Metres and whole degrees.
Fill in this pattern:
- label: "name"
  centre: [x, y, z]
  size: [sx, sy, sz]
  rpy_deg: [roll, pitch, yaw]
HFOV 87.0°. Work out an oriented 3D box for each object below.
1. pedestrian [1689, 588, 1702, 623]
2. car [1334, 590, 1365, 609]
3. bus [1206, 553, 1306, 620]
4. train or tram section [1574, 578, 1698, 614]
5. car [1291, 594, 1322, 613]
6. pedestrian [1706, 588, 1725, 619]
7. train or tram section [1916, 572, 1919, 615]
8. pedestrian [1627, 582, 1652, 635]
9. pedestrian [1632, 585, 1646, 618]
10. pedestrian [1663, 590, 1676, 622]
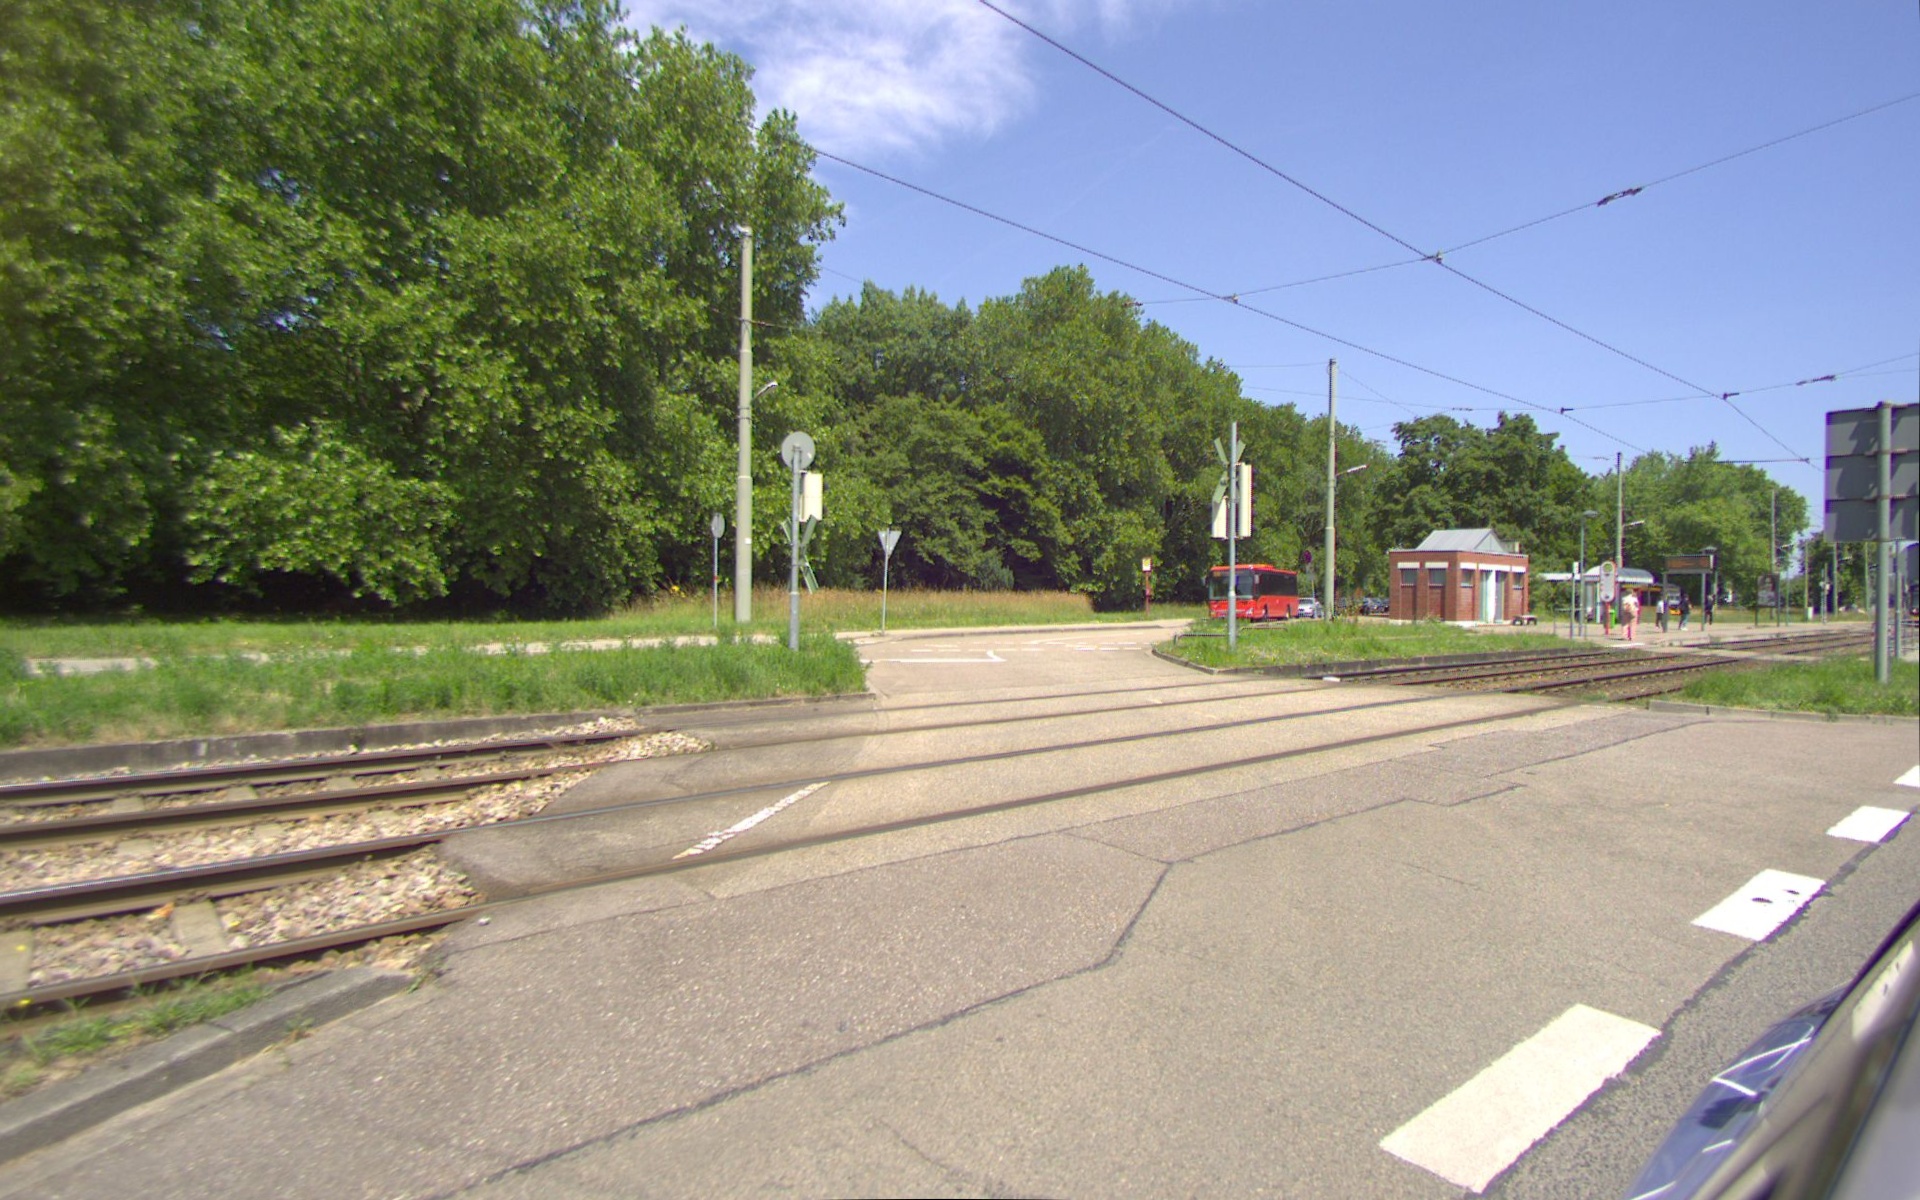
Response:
- label: "pedestrian"
  centre: [36.206, 0.272, 49.818]
  size: [0.437, 1.667, 0.361]
  rpy_deg: [1, 0, -38]
- label: "car"
  centre: [33.289, -0.071, 86.409]
  size: [1.872, 1.530, 3.958]
  rpy_deg: [1, 1, 30]
- label: "bus"
  centre: [17.316, -0.759, 58.448]
  size: [2.744, 3.482, 12.315]
  rpy_deg: [-1, 0, 30]
- label: "train or tram section"
  centre: [73.275, -0.414, 110.212]
  size: [2.659, 3.695, 13.207]
  rpy_deg: [-1, 0, -11]
- label: "car"
  centre: [24.062, 0.232, 70.270]
  size: [1.558, 1.282, 3.964]
  rpy_deg: [1, 1, 26]
- label: "pedestrian"
  centre: [44.599, 0.216, 59.748]
  size: [0.645, 1.786, 0.707]
  rpy_deg: [0, 1, -39]
- label: "train or tram section"
  centre: [79.940, -0.492, 82.172]
  size: [7.131, 3.364, 2.523]
  rpy_deg: [0, 1, -40]
- label: "pedestrian"
  centre: [23.174, 0.294, 34.504]
  size: [0.633, 1.781, 0.806]
  rpy_deg: [-1, -1, 36]
- label: "pedestrian"
  centre: [37.344, 0.083, 55.672]
  size: [0.726, 1.796, 0.382]
  rpy_deg: [1, 1, -38]
- label: "pedestrian"
  centre: [35.866, 0.312, 51.167]
  size: [0.474, 1.617, 0.361]
  rpy_deg: [-1, -1, -38]
